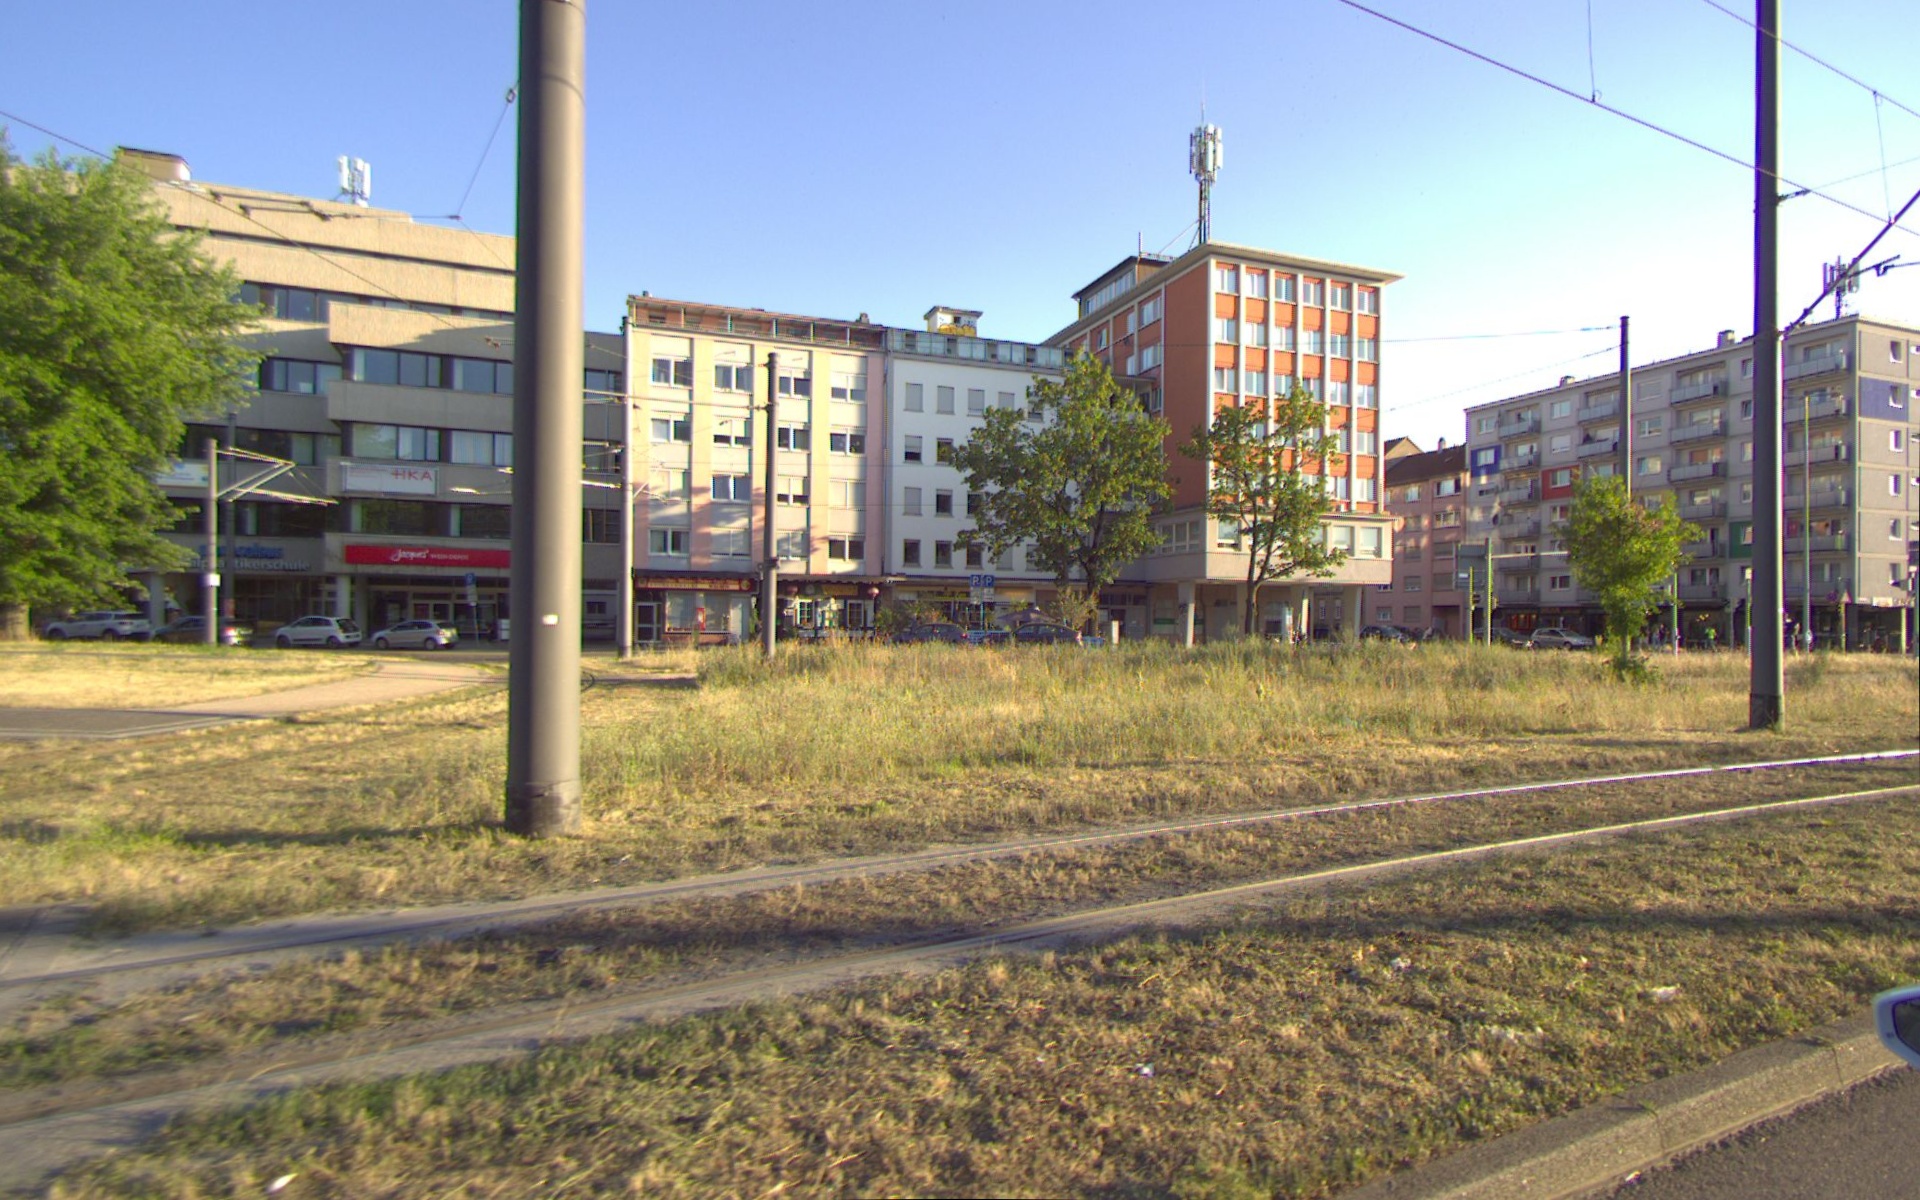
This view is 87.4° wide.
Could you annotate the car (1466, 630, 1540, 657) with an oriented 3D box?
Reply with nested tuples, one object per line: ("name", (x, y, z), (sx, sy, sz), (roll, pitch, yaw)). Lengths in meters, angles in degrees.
("car", (34.712, 2.751, 64.323), (1.779, 1.606, 3.853), (0, -1, -25))

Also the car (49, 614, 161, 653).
("car", (-42.162, 1.635, 49.590), (4.125, 1.818, 1.760), (-1, -1, 2))

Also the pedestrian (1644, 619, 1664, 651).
("pedestrian", (41.118, 2.086, 59.528), (0.810, 1.872, 0.601), (0, -1, -20))

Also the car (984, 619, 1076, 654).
("car", (3.253, 1.682, 47.047), (4.206, 1.547, 1.760), (-1, -1, 2))

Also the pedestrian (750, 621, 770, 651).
("pedestrian", (-10.280, 1.837, 51.622), (0.841, 1.548, 1.116), (0, -1, -23))

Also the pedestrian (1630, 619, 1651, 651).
("pedestrian", (40.950, 2.090, 60.460), (0.726, 1.876, 0.704), (0, -1, -20))

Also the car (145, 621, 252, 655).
("car", (-37.065, 1.856, 48.934), (3.920, 1.572, 1.760), (-1, -1, 2))

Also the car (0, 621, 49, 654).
("car", (-48.392, 1.880, 50.262), (3.987, 1.577, 1.866), (-1, -1, 2))

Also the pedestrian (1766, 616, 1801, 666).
("pedestrian", (29.670, 1.463, 36.200), (0.637, 1.786, 0.722), (-1, -1, 1))

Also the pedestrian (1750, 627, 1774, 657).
("pedestrian", (46.100, 2.410, 57.734), (0.767, 1.692, 0.741), (-1, -1, -1))

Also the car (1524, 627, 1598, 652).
("car", (39.957, 2.606, 66.850), (1.779, 1.606, 3.853), (0, -1, -25))

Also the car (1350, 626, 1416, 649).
("car", (31.357, 2.741, 74.549), (1.962, 1.606, 4.267), (0, -1, -25))

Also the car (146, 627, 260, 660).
("car", (-34.242, 1.946, 45.485), (3.919, 1.408, 1.712), (-1, -1, 4))

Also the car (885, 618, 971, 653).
("car", (-1.458, 1.667, 47.403), (3.920, 1.547, 1.760), (-1, -1, 2))

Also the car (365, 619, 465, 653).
("car", (-26.175, 1.710, 48.303), (3.919, 1.572, 1.761), (-1, -1, 5))

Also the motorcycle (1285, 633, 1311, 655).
("motorcycle", (17.884, 2.324, 53.204), (0.523, 1.082, 1.447), (0, -1, -21))

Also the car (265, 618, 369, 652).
("car", (-31.077, 1.697, 48.594), (3.920, 1.572, 1.760), (-1, -1, 2))

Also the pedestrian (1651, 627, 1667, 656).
("pedestrian", (40.241, 2.369, 57.833), (0.606, 1.651, 0.513), (0, -1, -20))
